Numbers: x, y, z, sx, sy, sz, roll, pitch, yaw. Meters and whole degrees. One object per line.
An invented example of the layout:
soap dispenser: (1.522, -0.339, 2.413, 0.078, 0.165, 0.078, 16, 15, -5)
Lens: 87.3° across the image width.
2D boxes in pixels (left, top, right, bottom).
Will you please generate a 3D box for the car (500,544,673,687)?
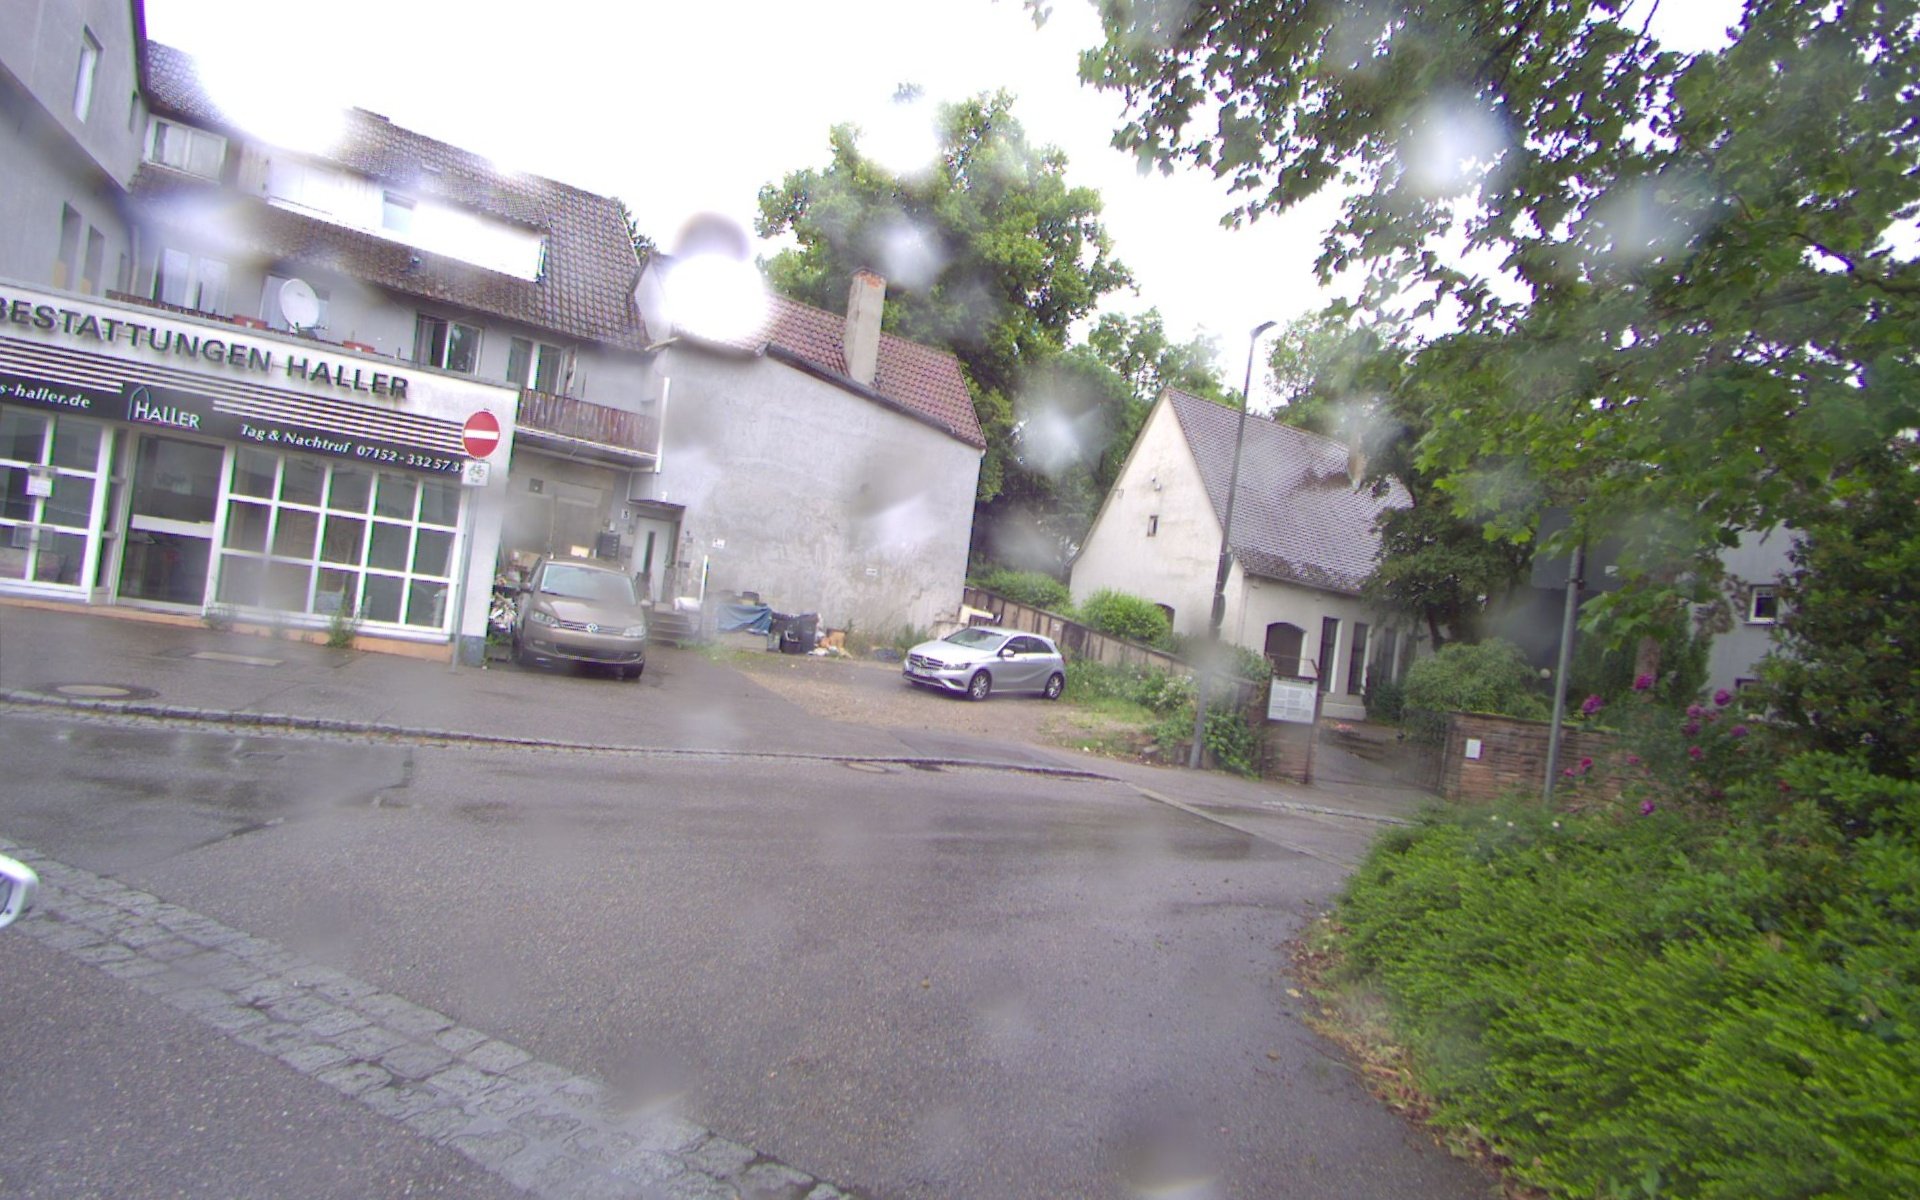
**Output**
car: (-6.287, 0.144, 16.562, 1.908, 1.749, 4.634, 8, 0, -28)

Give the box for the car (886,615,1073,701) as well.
car: (0.506, 1.270, 21.393, 1.717, 1.406, 4.022, 10, 2, 40)
